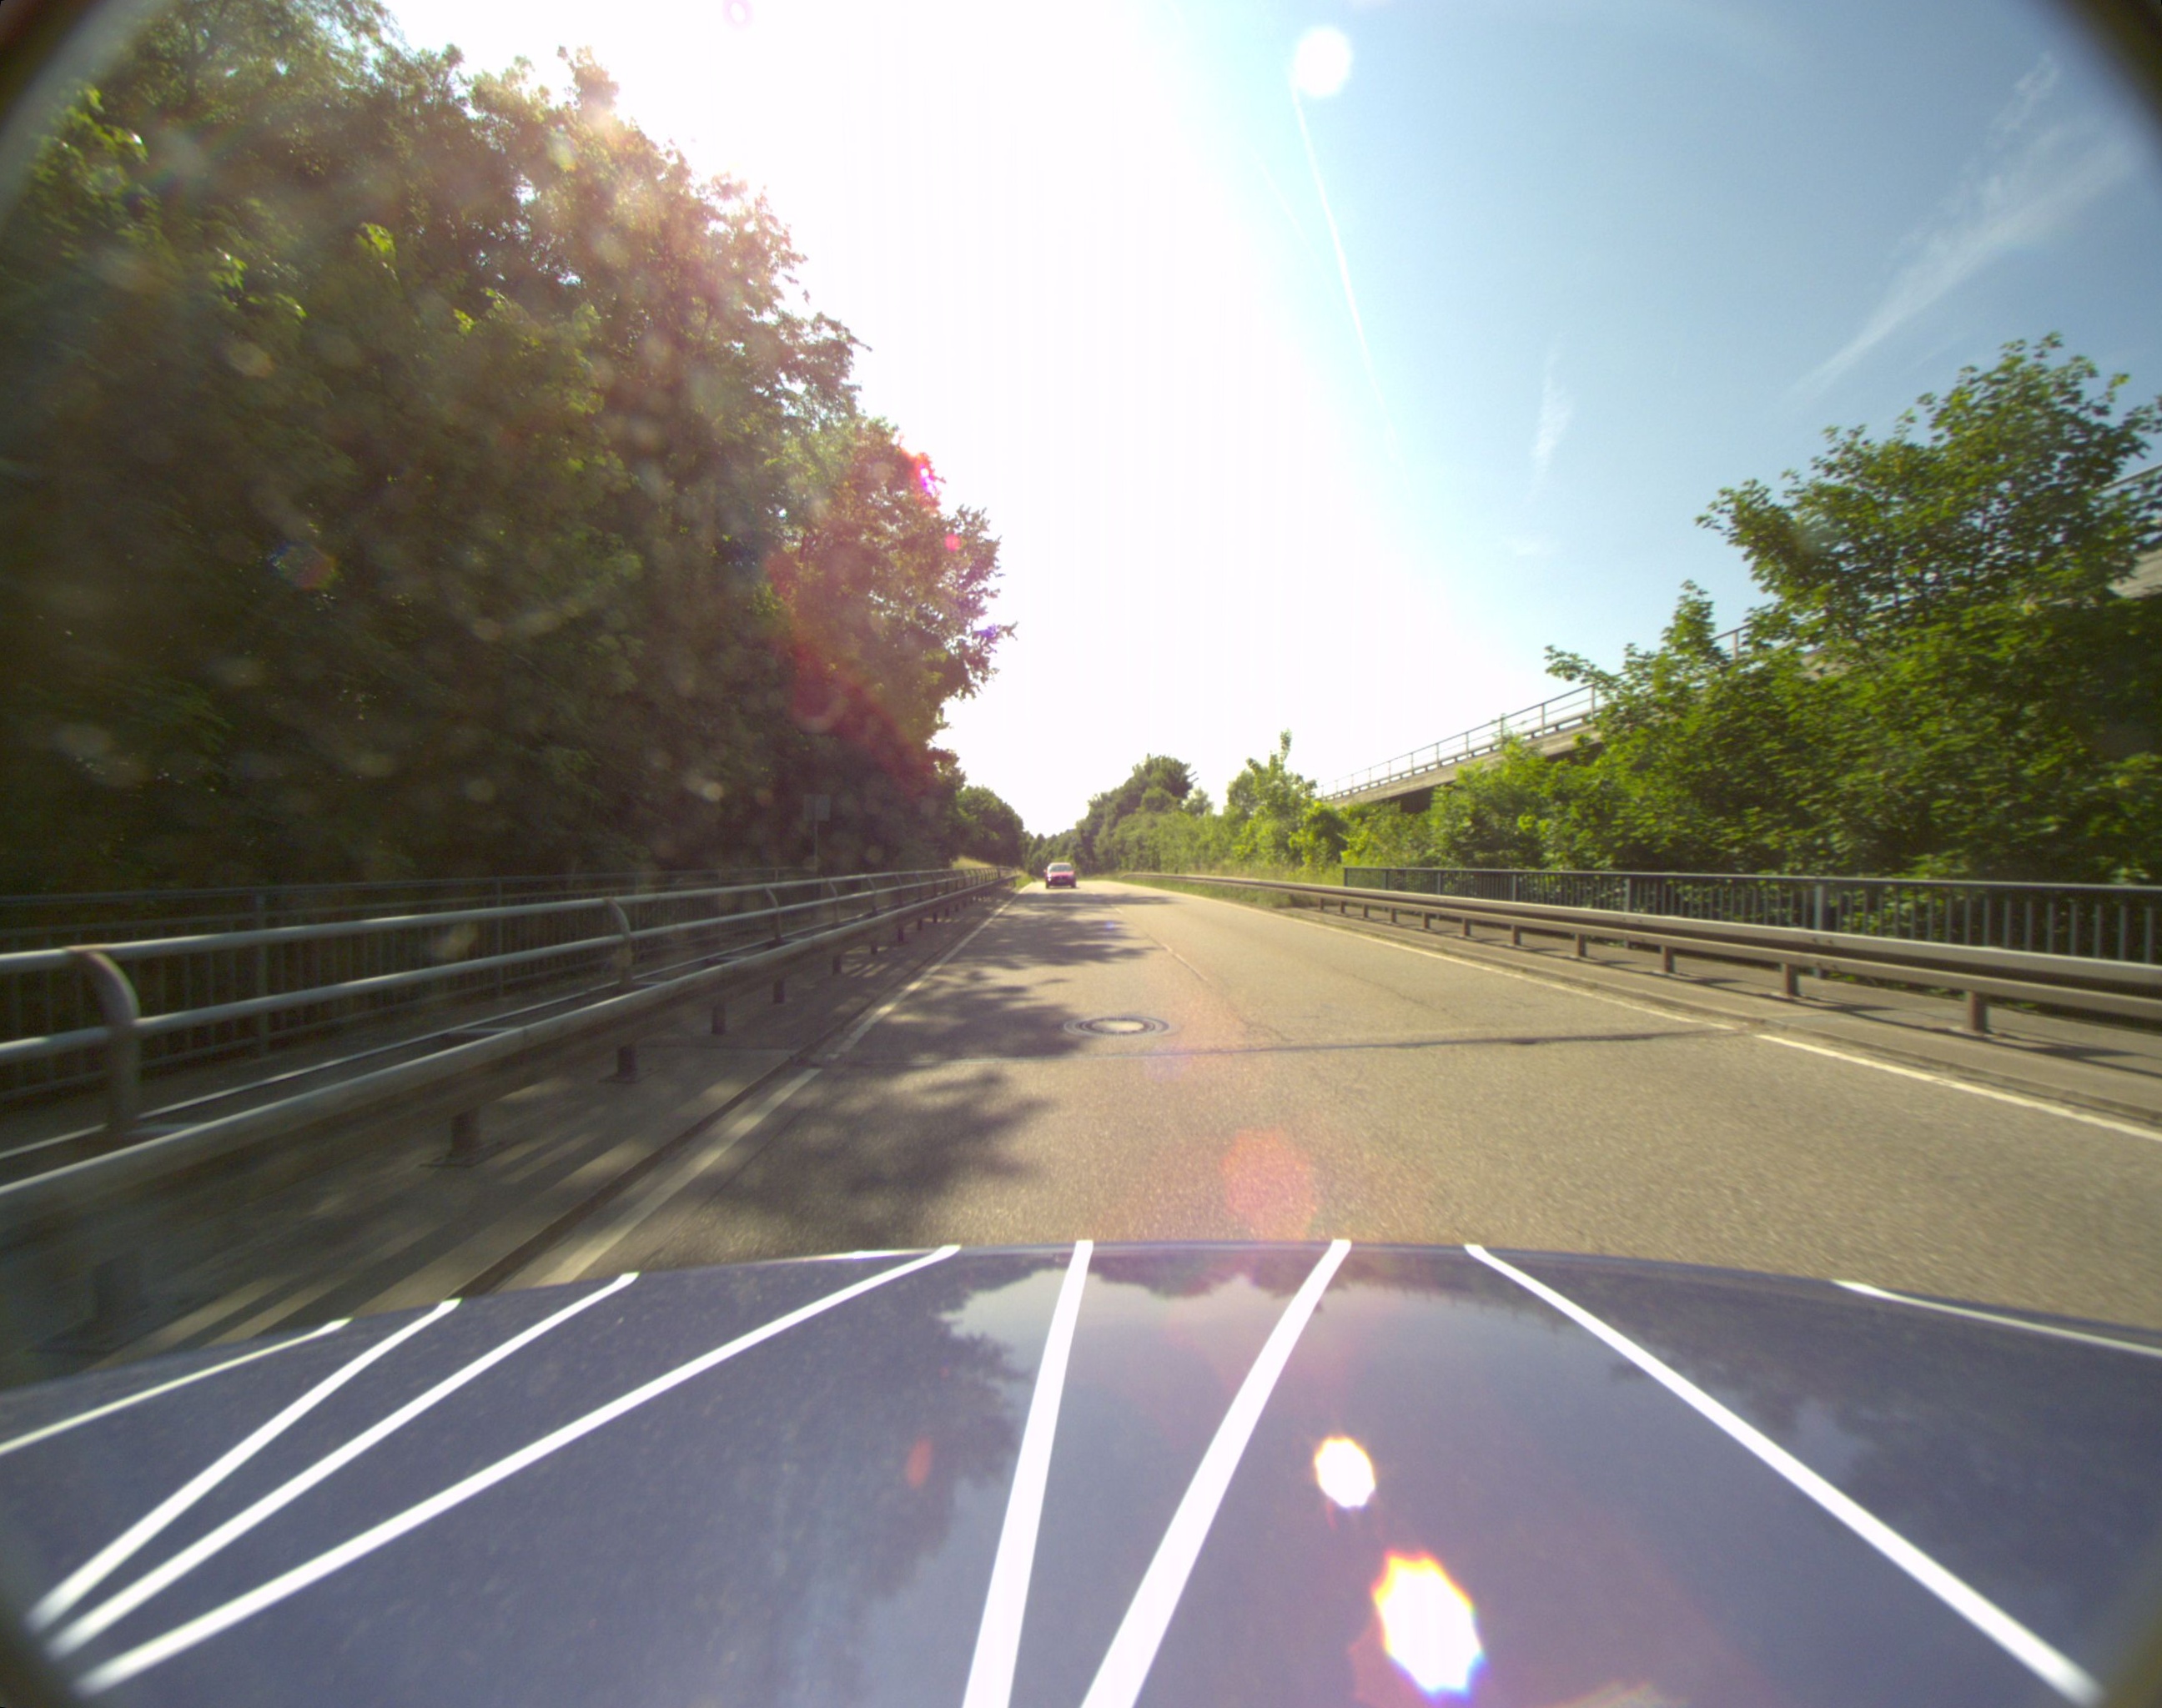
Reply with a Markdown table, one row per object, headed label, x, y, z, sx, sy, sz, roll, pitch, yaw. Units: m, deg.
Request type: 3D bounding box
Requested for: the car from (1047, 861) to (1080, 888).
| label | x | y | z | sx | sy | sz | roll | pitch | yaw |
| --- | --- | --- | --- | --- | --- | --- | --- | --- | --- |
| car | -1.093 | 1.176 | 45.210 | 1.817 | 1.488 | 4.284 | -1 | 1 | -4 |
